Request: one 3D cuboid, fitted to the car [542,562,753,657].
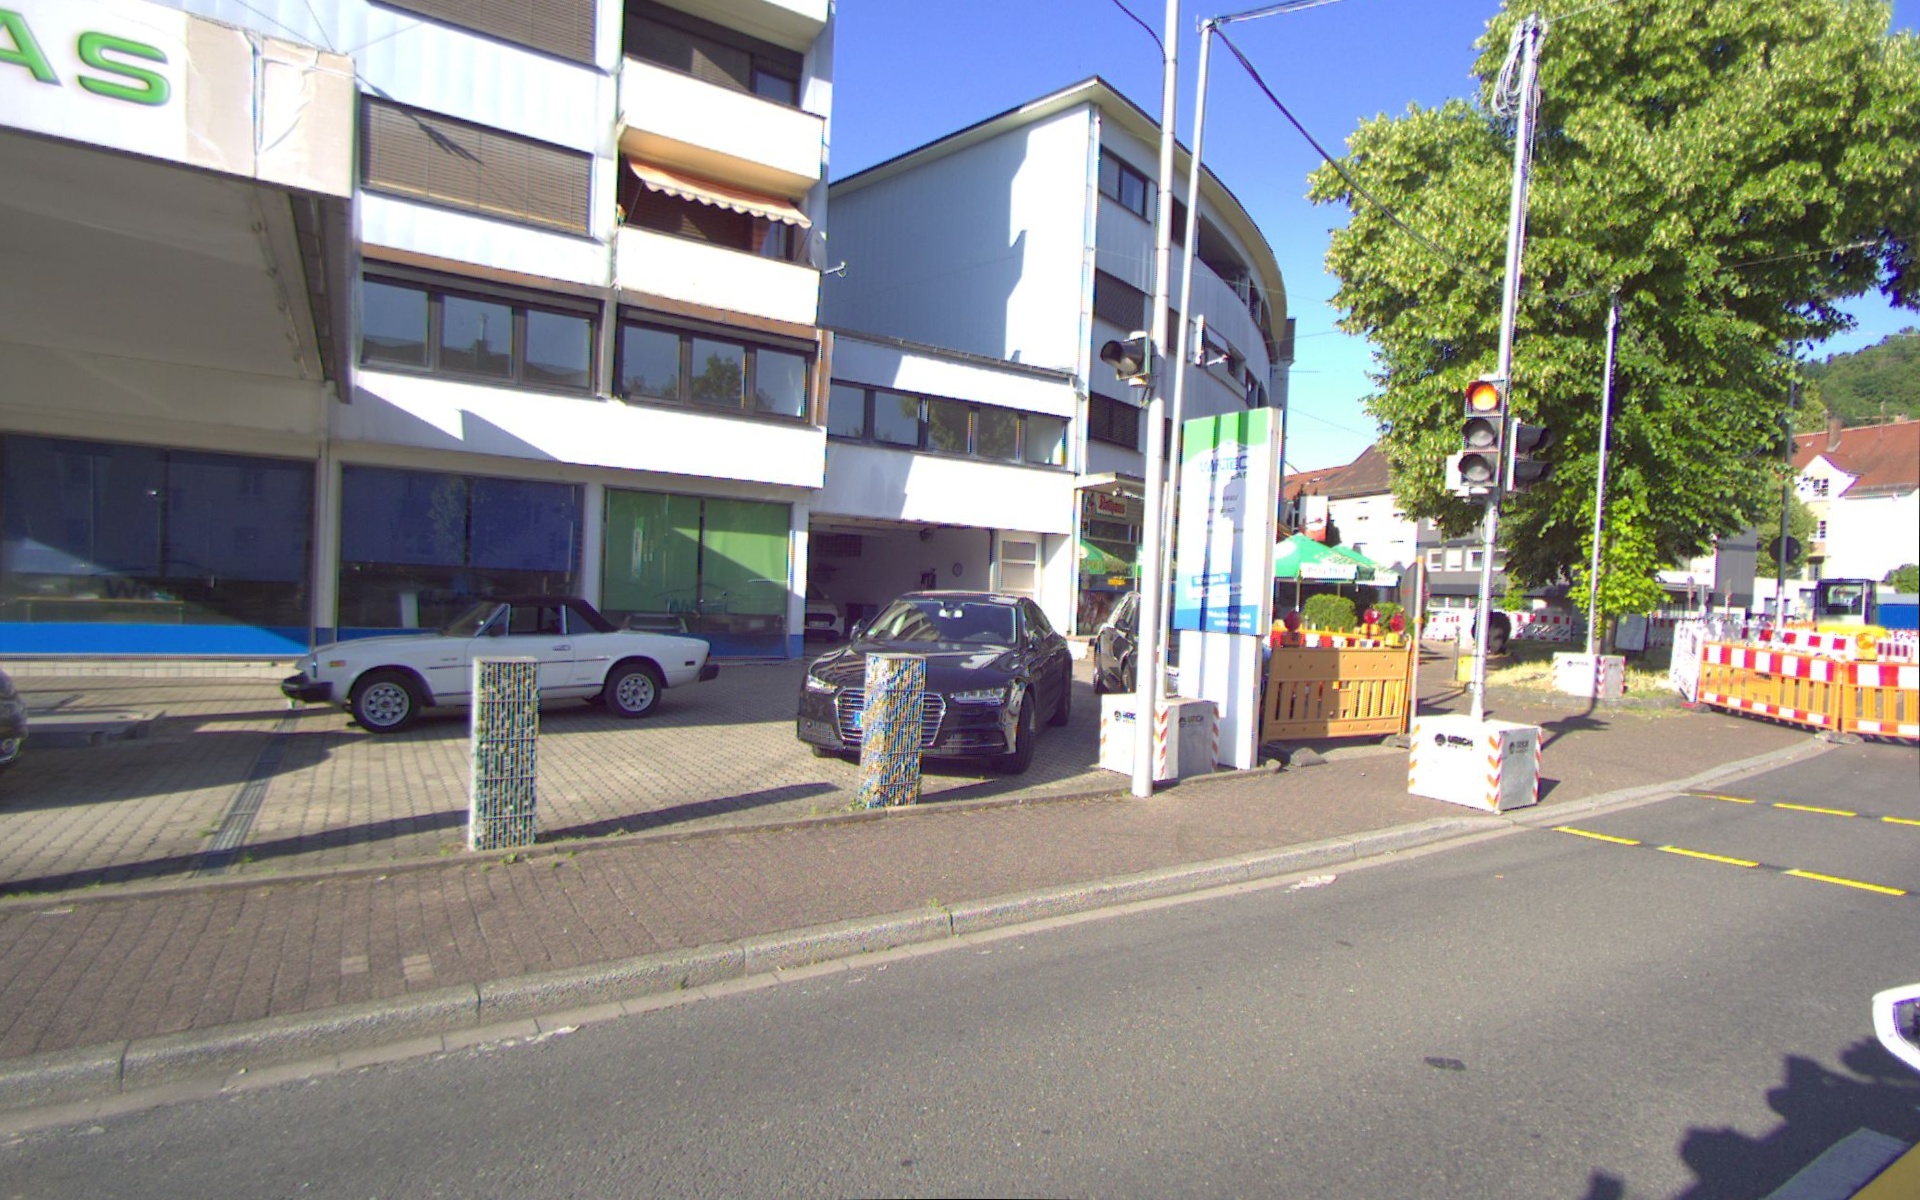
[{"bbox_3d":[-6.101,0.214,19.711,3.593,1.696,1.707,2,0,-34],"label":"car"}]

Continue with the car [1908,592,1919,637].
[{"bbox_3d":[49.516,0.787,48.420,6.043,2.149,2.586,2,0,-12],"label":"car"}]

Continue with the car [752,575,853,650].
[{"bbox_3d":[-3.895,0.249,24.381,1.550,1.629,3.734,2,1,-23],"label":"car"}]

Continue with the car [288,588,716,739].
[{"bbox_3d":[-4.676,0.588,10.488,3.865,1.315,1.511,1,-1,-35],"label":"car"}]

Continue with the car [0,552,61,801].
[{"bbox_3d":[-7.483,0.405,5.860,3.305,1.506,1.543,2,0,8],"label":"car"}]

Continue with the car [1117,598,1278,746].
[{"bbox_3d":[2.757,0.742,12.081,1.564,1.457,3.887,1,0,11],"label":"car"}]

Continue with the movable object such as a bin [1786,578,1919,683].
[{"bbox_3d":[21.545,0.699,24.137,3.882,2.356,1.635,1,0,-36],"label":"movable object such as a bin"}]

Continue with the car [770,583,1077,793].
[{"bbox_3d":[-0.026,0.646,9.572,1.893,1.457,4.692,1,0,11],"label":"car"}]
